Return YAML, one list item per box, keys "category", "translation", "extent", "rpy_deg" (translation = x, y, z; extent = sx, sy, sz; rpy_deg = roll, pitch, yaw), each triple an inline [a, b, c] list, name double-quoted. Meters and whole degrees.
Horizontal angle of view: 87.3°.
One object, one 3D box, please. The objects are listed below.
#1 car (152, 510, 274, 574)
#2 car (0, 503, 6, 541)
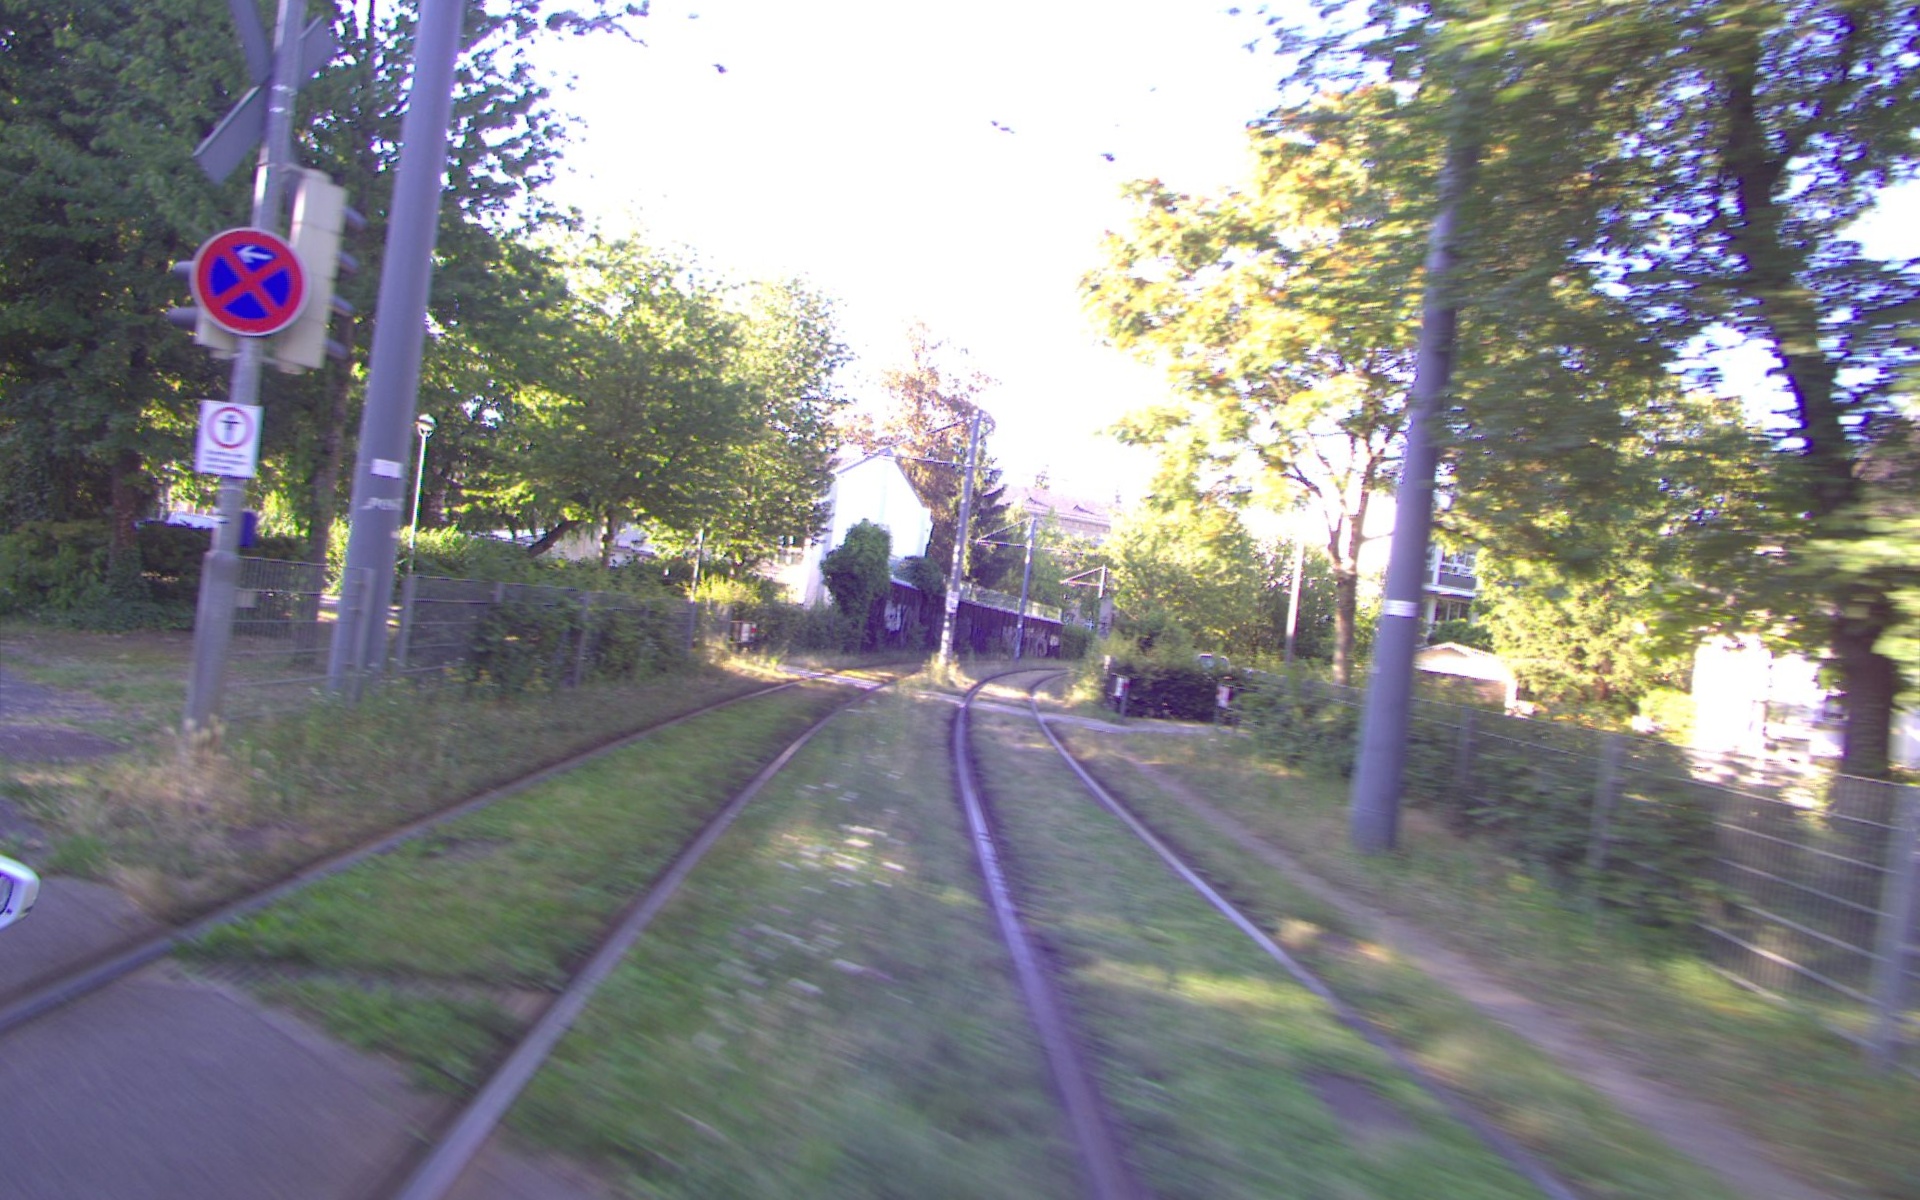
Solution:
- category: "car"
  translation: [-29.920, -2.255, 40.505]
  extent: [1.929, 2.037, 5.140]
  rpy_deg: [8, -2, -14]
- category: "car"
  translation: [-34.993, -2.889, 34.637]
  extent: [1.370, 1.439, 3.420]
  rpy_deg: [10, -2, -12]
